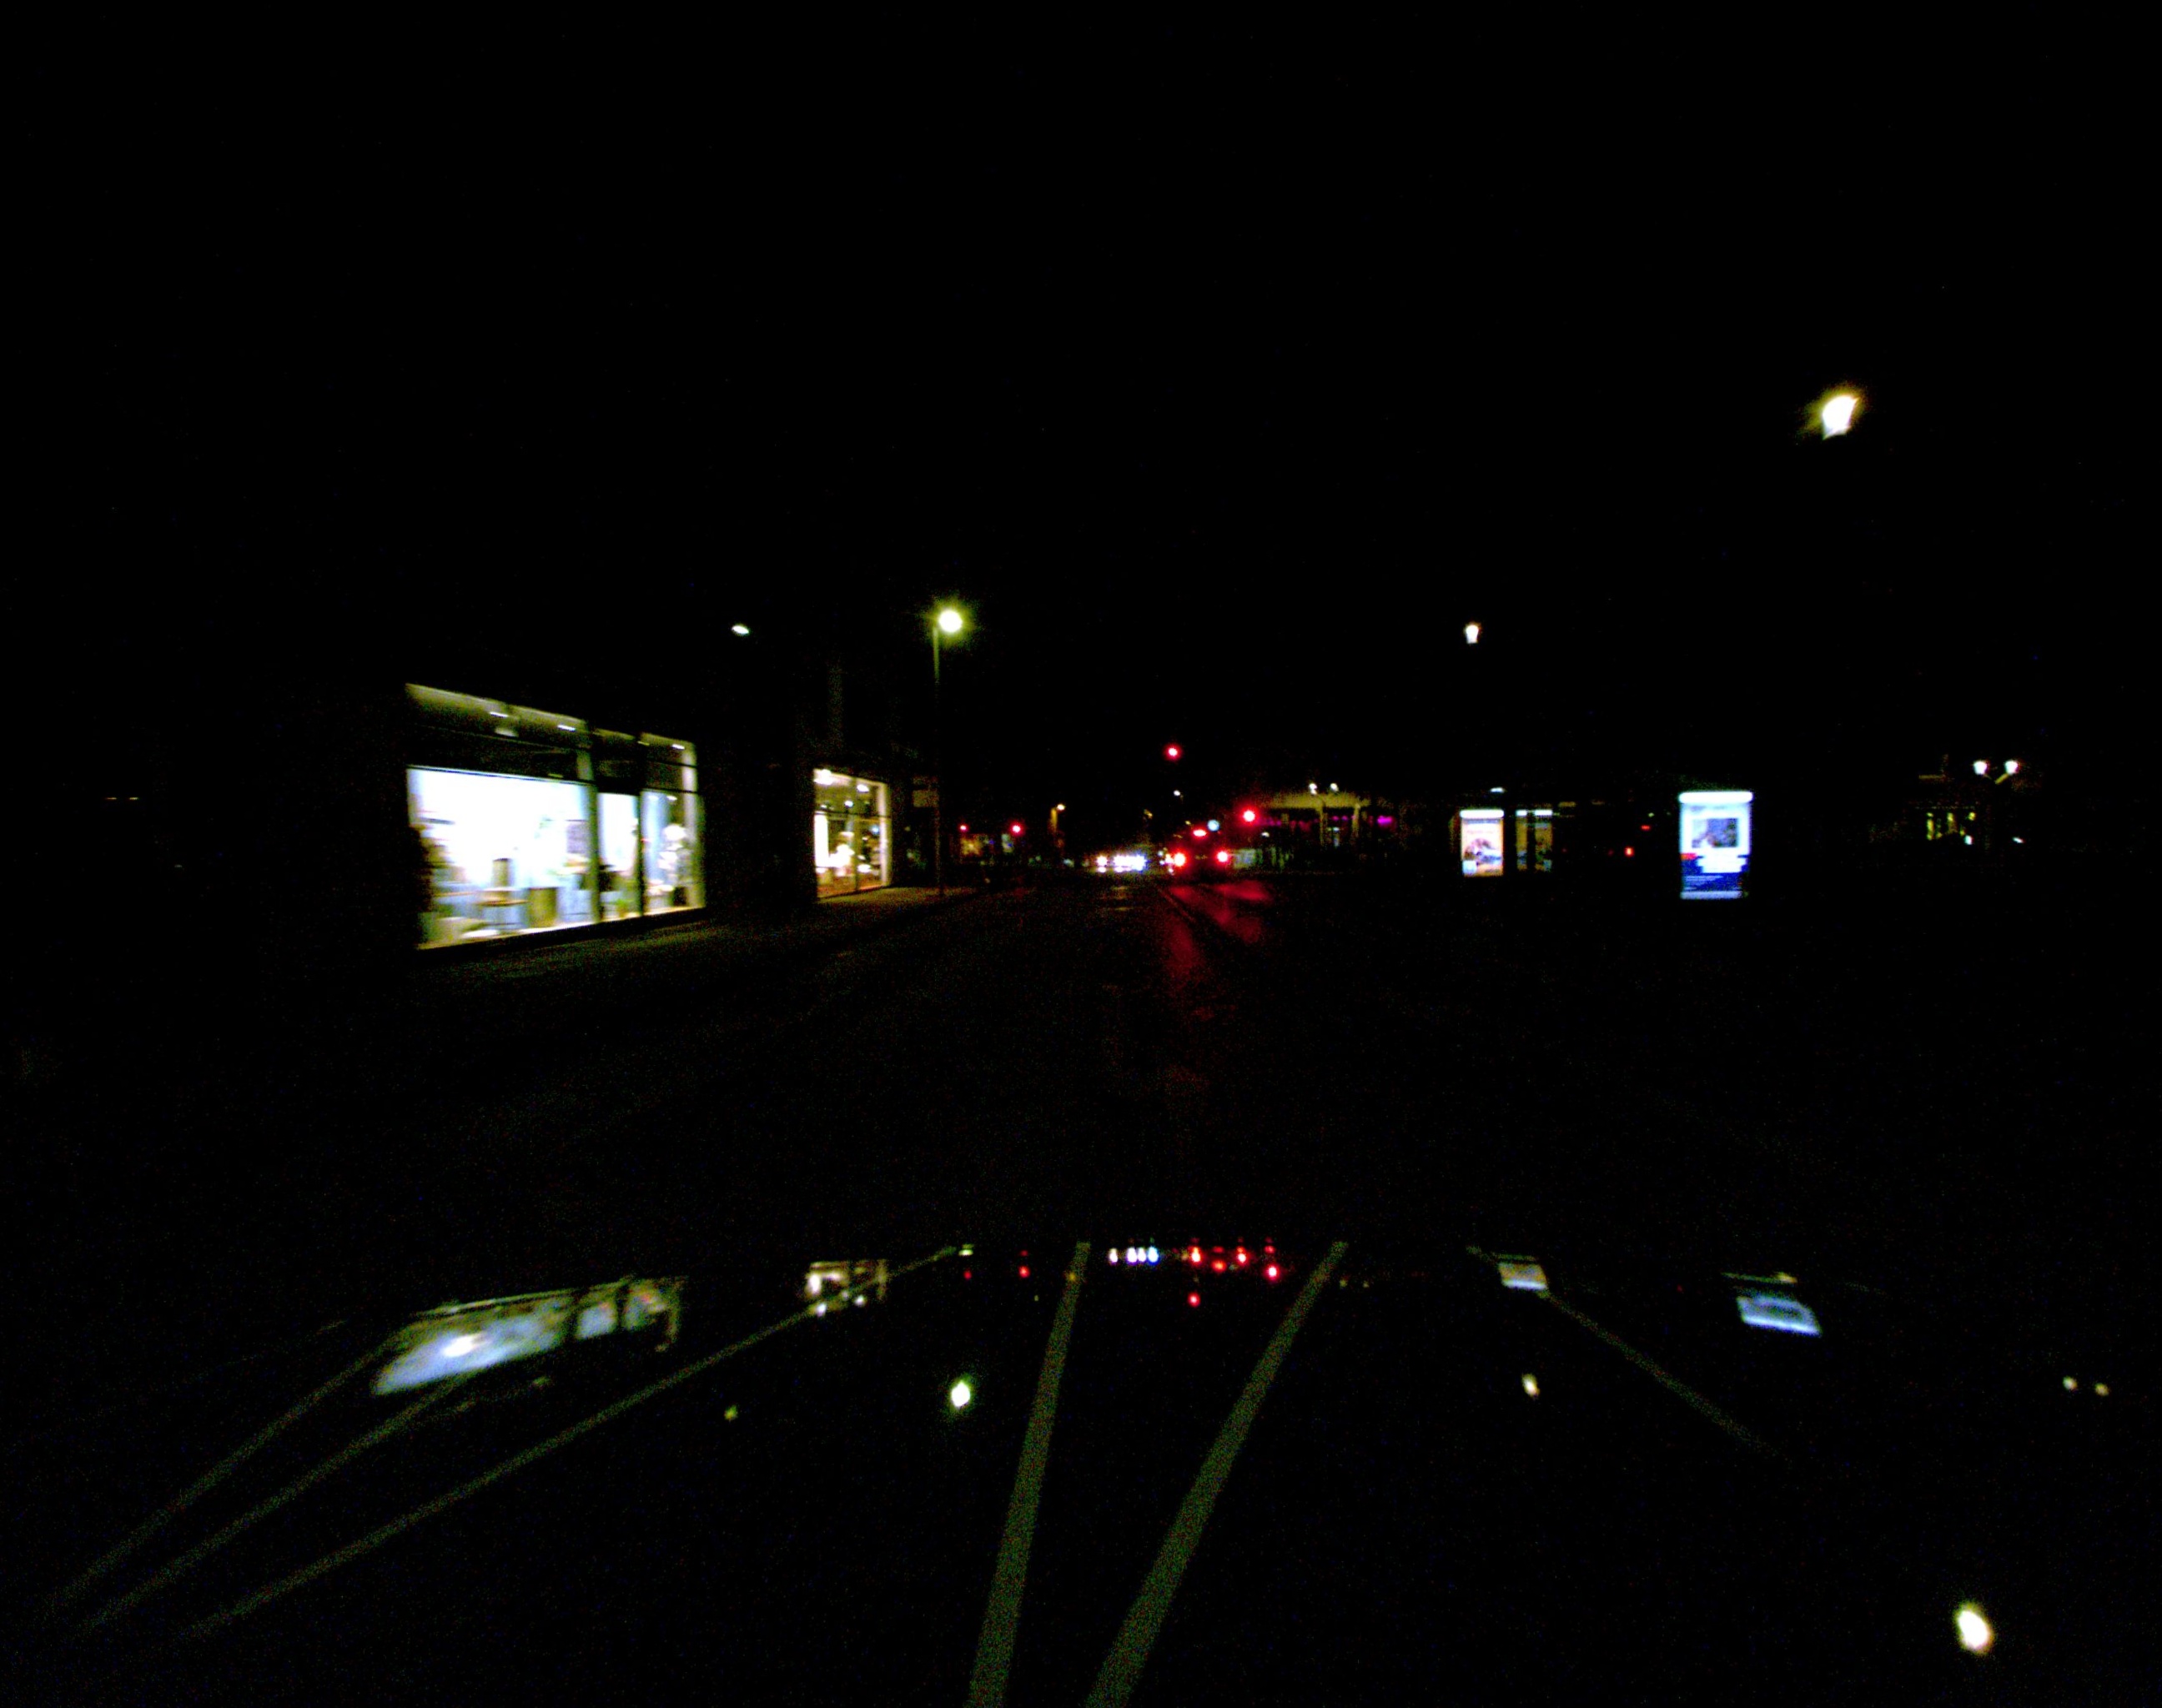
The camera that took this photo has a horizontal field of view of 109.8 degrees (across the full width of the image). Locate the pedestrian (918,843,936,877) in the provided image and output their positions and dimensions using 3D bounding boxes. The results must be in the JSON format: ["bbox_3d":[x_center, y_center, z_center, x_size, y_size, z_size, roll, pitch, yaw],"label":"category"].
[{"bbox_3d":[-7.833,0.293,38.607,0.539,1.672,0.648,-2,2,25],"label":"pedestrian"}]

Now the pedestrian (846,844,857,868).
[{"bbox_3d":[-16.578,0.135,54.926,0.524,1.707,0.567,-2,2,9],"label":"pedestrian"}]

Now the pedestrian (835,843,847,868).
[{"bbox_3d":[-17.263,0.100,54.743,0.566,1.707,0.567,-2,2,9],"label":"pedestrian"}]

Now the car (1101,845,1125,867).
[{"bbox_3d":[2.753,0.147,64.785,1.712,1.660,3.738,-2,1,5],"label":"car"}]

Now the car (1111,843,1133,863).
[{"bbox_3d":[3.836,-0.122,71.422,1.878,1.718,4.000,-2,1,3],"label":"car"}]

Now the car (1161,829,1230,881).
[{"bbox_3d":[4.427,-0.012,30.128,1.972,1.861,4.911,-1,1,0],"label":"car"}]
